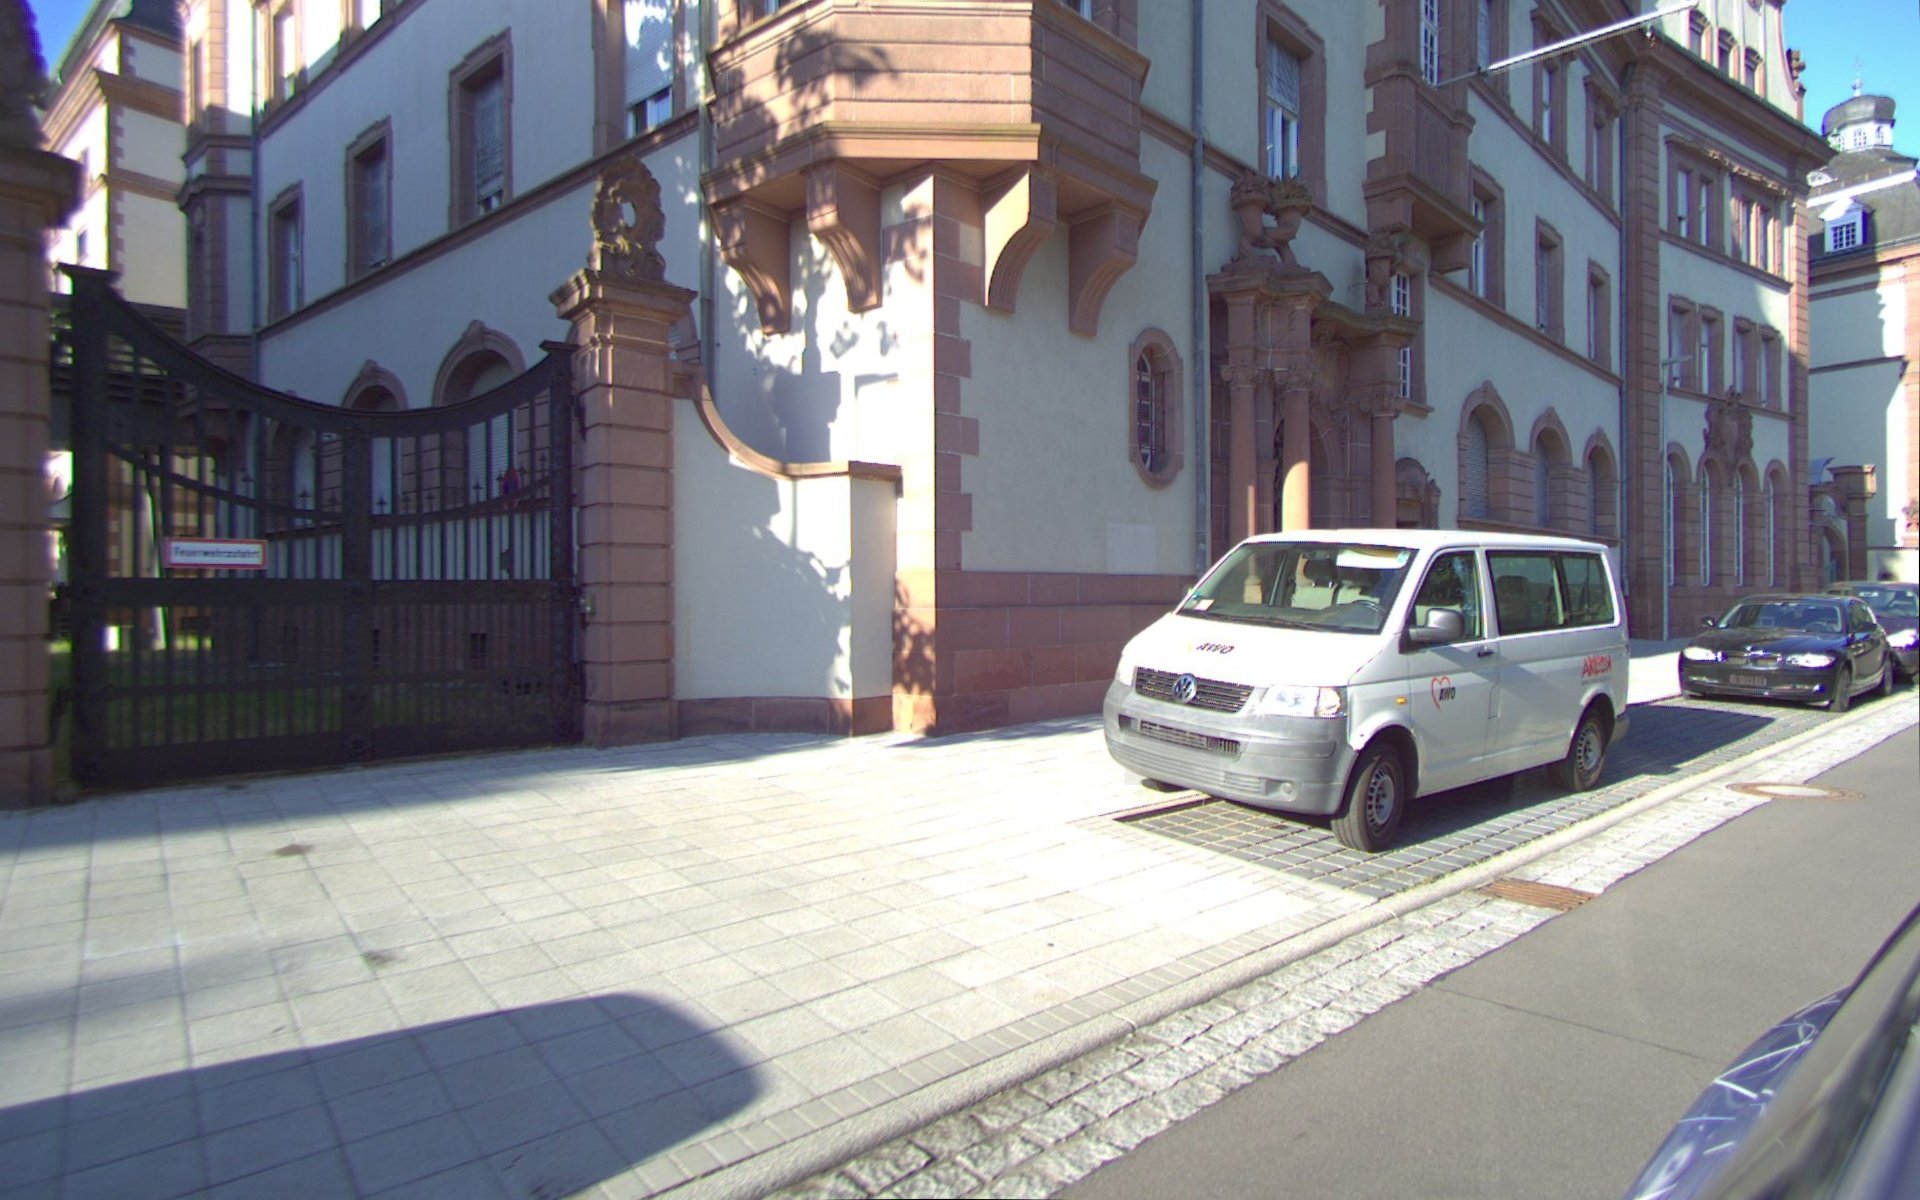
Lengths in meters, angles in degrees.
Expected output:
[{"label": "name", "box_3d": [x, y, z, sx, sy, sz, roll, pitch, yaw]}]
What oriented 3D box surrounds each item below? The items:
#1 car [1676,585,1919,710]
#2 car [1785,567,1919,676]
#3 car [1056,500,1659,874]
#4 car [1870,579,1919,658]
[{"label": "car", "box_3d": [11.405, 0.518, 13.687, 4.123, 1.420, 1.683, -1, 2, -38]}, {"label": "car", "box_3d": [15.644, 0.316, 17.109, 4.117, 1.622, 1.820, 0, 2, -40]}, {"label": "car", "box_3d": [3.172, 0.391, 7.612, 4.760, 1.990, 2.000, -1, 3, -37]}, {"label": "car", "box_3d": [19.813, 0.380, 20.087, 4.440, 1.454, 1.876, 0, 2, -39]}]
